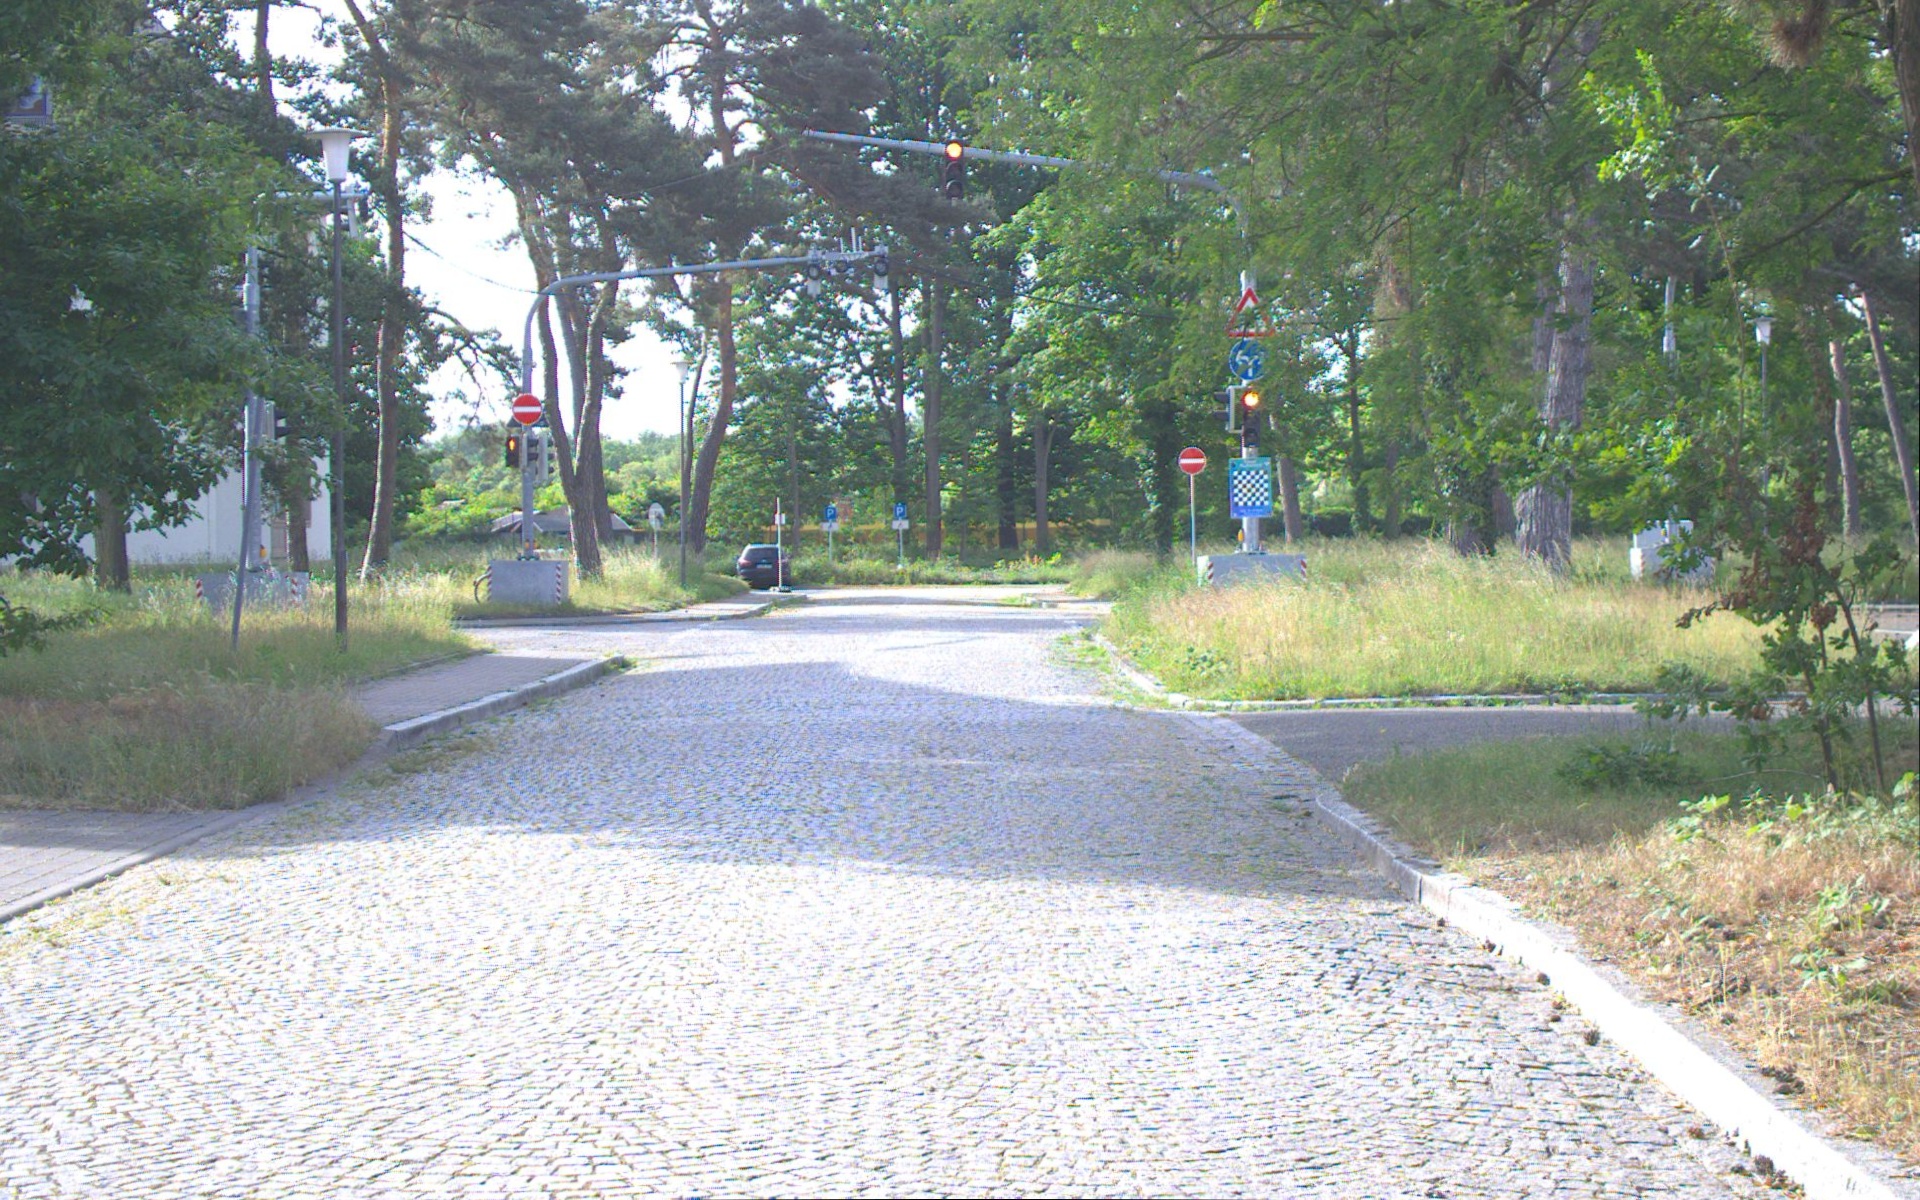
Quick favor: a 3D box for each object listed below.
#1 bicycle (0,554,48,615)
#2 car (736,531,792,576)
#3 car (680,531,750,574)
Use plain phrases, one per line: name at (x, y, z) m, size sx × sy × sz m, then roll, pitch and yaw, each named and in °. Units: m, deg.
bicycle at (-17.065, -0.258, 59.964) m, size 2.117 × 1.043 × 0.829 m, roll -1°, pitch 1°, yaw -3°
car at (-6.663, -1.601, 117.399) m, size 1.845 × 1.481 × 4.001 m, roll -1°, pitch 1°, yaw -2°
car at (-8.691, -1.698, 122.146) m, size 1.783 × 1.485 × 3.754 m, roll -1°, pitch 1°, yaw 7°
